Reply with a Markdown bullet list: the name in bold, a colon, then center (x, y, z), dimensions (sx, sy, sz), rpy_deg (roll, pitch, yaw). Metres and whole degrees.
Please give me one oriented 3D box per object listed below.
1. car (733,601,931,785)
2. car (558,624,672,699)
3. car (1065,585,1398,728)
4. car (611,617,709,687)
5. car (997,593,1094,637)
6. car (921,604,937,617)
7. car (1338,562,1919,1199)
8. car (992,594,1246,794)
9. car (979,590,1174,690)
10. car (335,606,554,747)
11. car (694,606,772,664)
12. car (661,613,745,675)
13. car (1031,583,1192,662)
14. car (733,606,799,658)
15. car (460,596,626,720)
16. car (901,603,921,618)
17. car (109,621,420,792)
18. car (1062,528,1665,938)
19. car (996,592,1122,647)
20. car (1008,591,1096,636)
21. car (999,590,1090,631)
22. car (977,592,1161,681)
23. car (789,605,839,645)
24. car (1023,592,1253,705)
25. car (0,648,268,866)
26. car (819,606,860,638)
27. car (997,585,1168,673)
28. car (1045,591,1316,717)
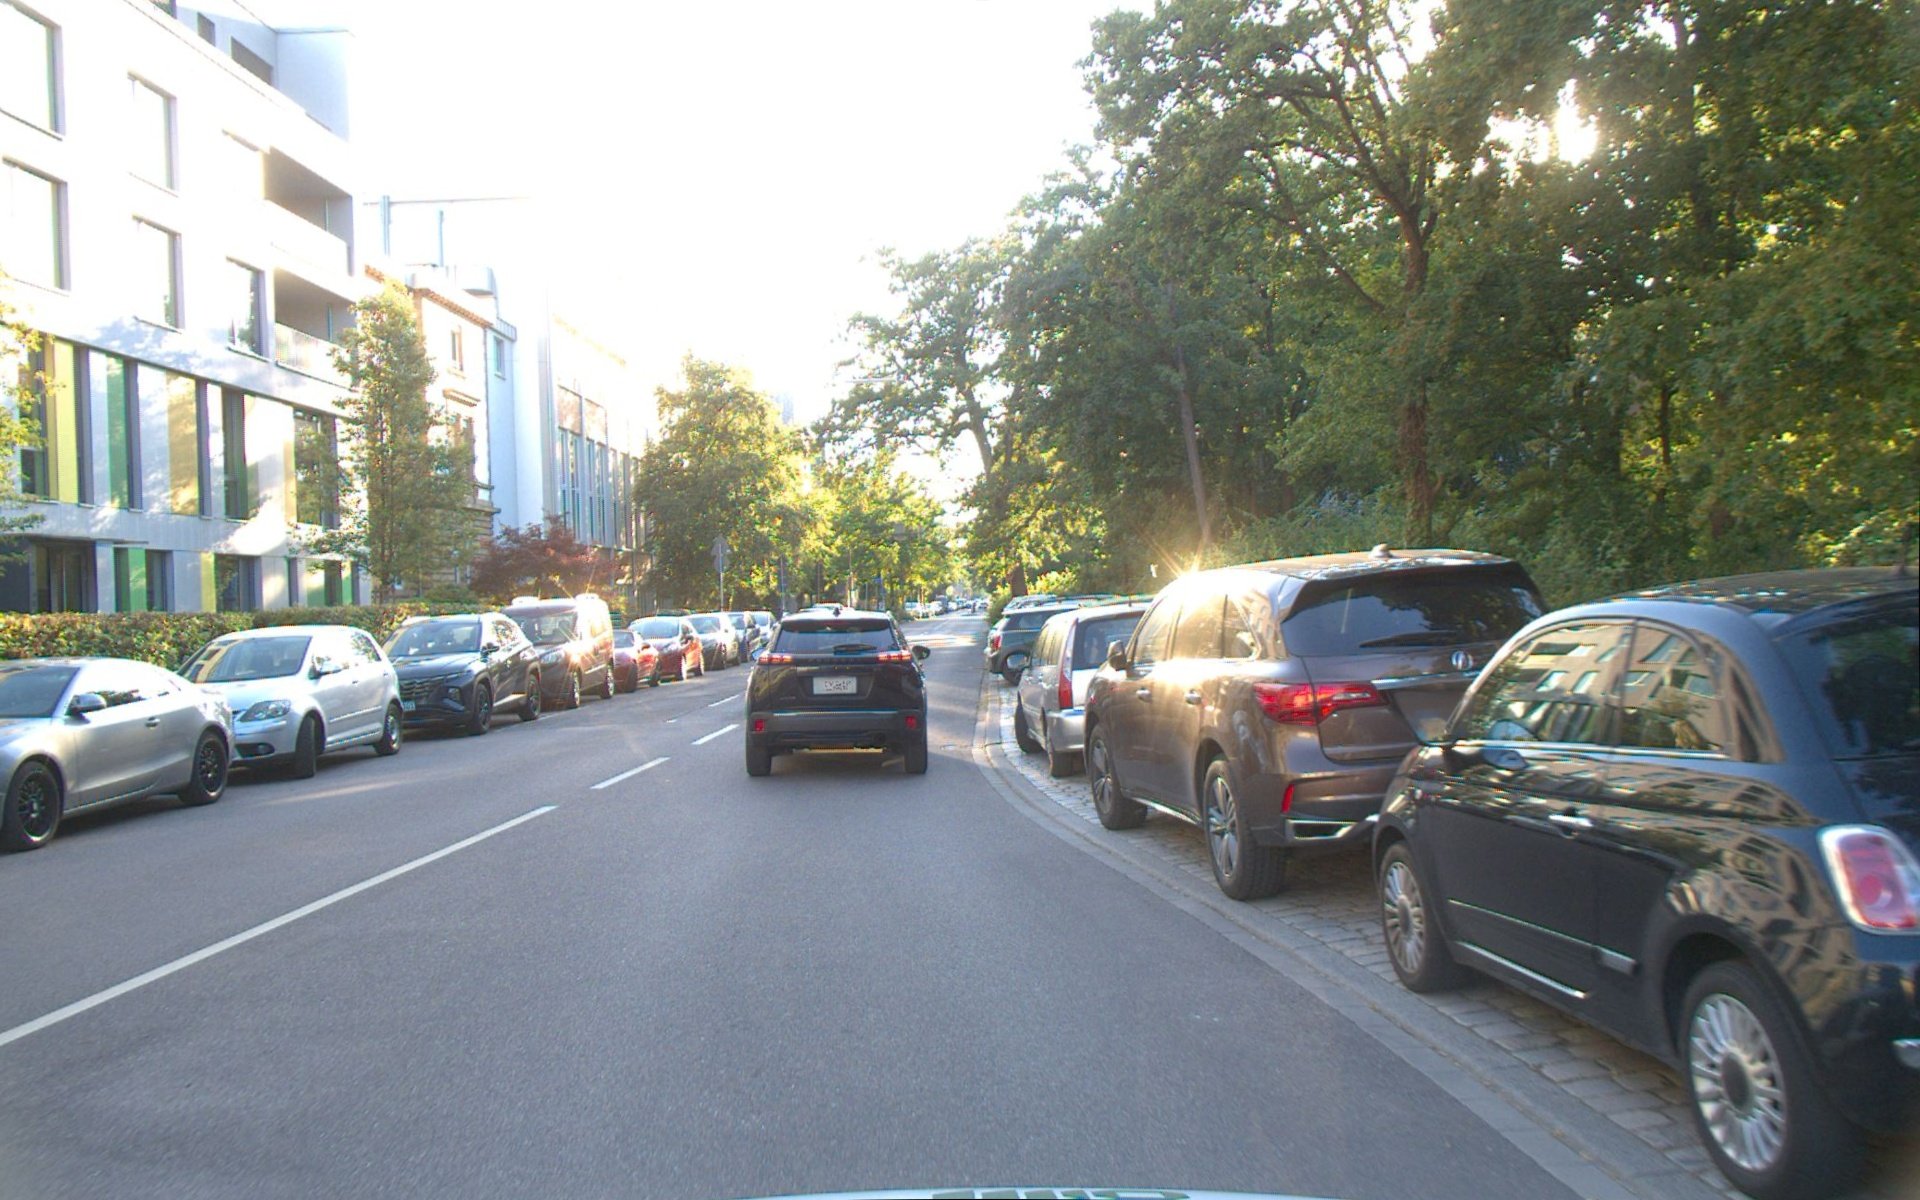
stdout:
- **car**: center (-1.198, 0.848, 16.735), dimensions (1.732, 1.596, 3.379), rpy_deg (-2, 0, -1)
- **car**: center (-7.146, 1.235, 34.543), dimensions (1.524, 1.302, 3.733), rpy_deg (-3, 0, 0)
- **car**: center (3.340, 0.679, 20.873), dimensions (3.868, 1.538, 1.739), rpy_deg (-3, 0, 0)
- **car**: center (-7.033, 1.188, 39.108), dimensions (1.566, 1.480, 3.861), rpy_deg (-3, 0, 0)
- **car**: center (3.655, 0.642, 71.298), dimensions (4.037, 1.696, 1.723), rpy_deg (-2, 0, 1)
- **car**: center (-3.795, 1.261, 201.337), dimensions (1.774, 1.377, 3.977), rpy_deg (-3, 0, -3)
- **car**: center (2.575, 0.664, 5.307), dimensions (1.589, 1.512, 3.414), rpy_deg (-3, 0, -6)
- **car**: center (1.380, 0.793, 16.023), dimensions (1.619, 1.595, 4.296), rpy_deg (-3, 0, -5)
- **car**: center (2.211, 0.750, 32.160), dimensions (3.538, 1.551, 1.671), rpy_deg (-6, 0, -1)
- **car**: center (-7.339, 1.022, 24.034), dimensions (1.706, 1.705, 4.416), rpy_deg (-3, 0, 0)
- **car**: center (-6.856, 1.032, 50.238), dimensions (1.565, 1.534, 3.789), rpy_deg (-3, 0, 3)
- **car**: center (-6.979, 1.163, 45.216), dimensions (1.566, 1.480, 4.055), rpy_deg (-3, 0, 0)
- **car**: center (3.597, 0.539, 39.804), dimensions (3.649, 1.524, 1.820), rpy_deg (-6, -1, 1)
- **car**: center (-6.404, 1.021, 54.855), dimensions (1.568, 1.519, 3.773), rpy_deg (-3, 0, 2)
- **car**: center (-7.331, 0.956, 29.490), dimensions (1.771, 1.922, 4.238), rpy_deg (-3, 0, 0)
- **car**: center (-4.761, 1.042, 161.255), dimensions (1.775, 1.377, 3.997), rpy_deg (-3, 0, -4)
- **car**: center (-7.549, 1.077, 18.418), dimensions (1.707, 1.560, 4.115), rpy_deg (-3, 0, -1)
- **car**: center (2.029, 0.611, 9.948), dimensions (1.886, 1.779, 4.658), rpy_deg (-3, 0, -8)
- **car**: center (3.452, 0.661, 57.989), dimensions (4.249, 1.500, 1.742), rpy_deg (-5, 1, 2)
- **car**: center (3.803, 0.589, 68.815), dimensions (3.516, 1.593, 1.818), rpy_deg (-4, -1, 0)
- **car**: center (3.914, 0.462, 76.034), dimensions (4.082, 1.740, 1.868), rpy_deg (-2, 0, 5)
- **car**: center (2.234, 0.740, 34.480), dimensions (3.593, 1.469, 1.735), rpy_deg (-6, 0, -1)
- **car**: center (-6.349, 1.066, 72.336), dimensions (1.636, 1.519, 4.062), rpy_deg (-3, 0, 2)
- **car**: center (2.702, 0.723, 25.676), dimensions (3.317, 1.552, 1.671), rpy_deg (-2, 0, -1)
- **car**: center (-7.473, 1.187, 13.472), dimensions (1.706, 1.380, 4.397), rpy_deg (-3, 0, 1)
- **car**: center (-6.113, 1.105, 84.307), dimensions (1.645, 1.482, 3.883), rpy_deg (-3, 0, 2)
- **car**: center (2.709, 0.638, 37.154), dimensions (3.593, 1.579, 1.735), rpy_deg (-6, 0, -1)
- **car**: center (3.014, 0.721, 23.160), dimensions (3.552, 1.567, 1.672), rpy_deg (-2, 0, 1)
